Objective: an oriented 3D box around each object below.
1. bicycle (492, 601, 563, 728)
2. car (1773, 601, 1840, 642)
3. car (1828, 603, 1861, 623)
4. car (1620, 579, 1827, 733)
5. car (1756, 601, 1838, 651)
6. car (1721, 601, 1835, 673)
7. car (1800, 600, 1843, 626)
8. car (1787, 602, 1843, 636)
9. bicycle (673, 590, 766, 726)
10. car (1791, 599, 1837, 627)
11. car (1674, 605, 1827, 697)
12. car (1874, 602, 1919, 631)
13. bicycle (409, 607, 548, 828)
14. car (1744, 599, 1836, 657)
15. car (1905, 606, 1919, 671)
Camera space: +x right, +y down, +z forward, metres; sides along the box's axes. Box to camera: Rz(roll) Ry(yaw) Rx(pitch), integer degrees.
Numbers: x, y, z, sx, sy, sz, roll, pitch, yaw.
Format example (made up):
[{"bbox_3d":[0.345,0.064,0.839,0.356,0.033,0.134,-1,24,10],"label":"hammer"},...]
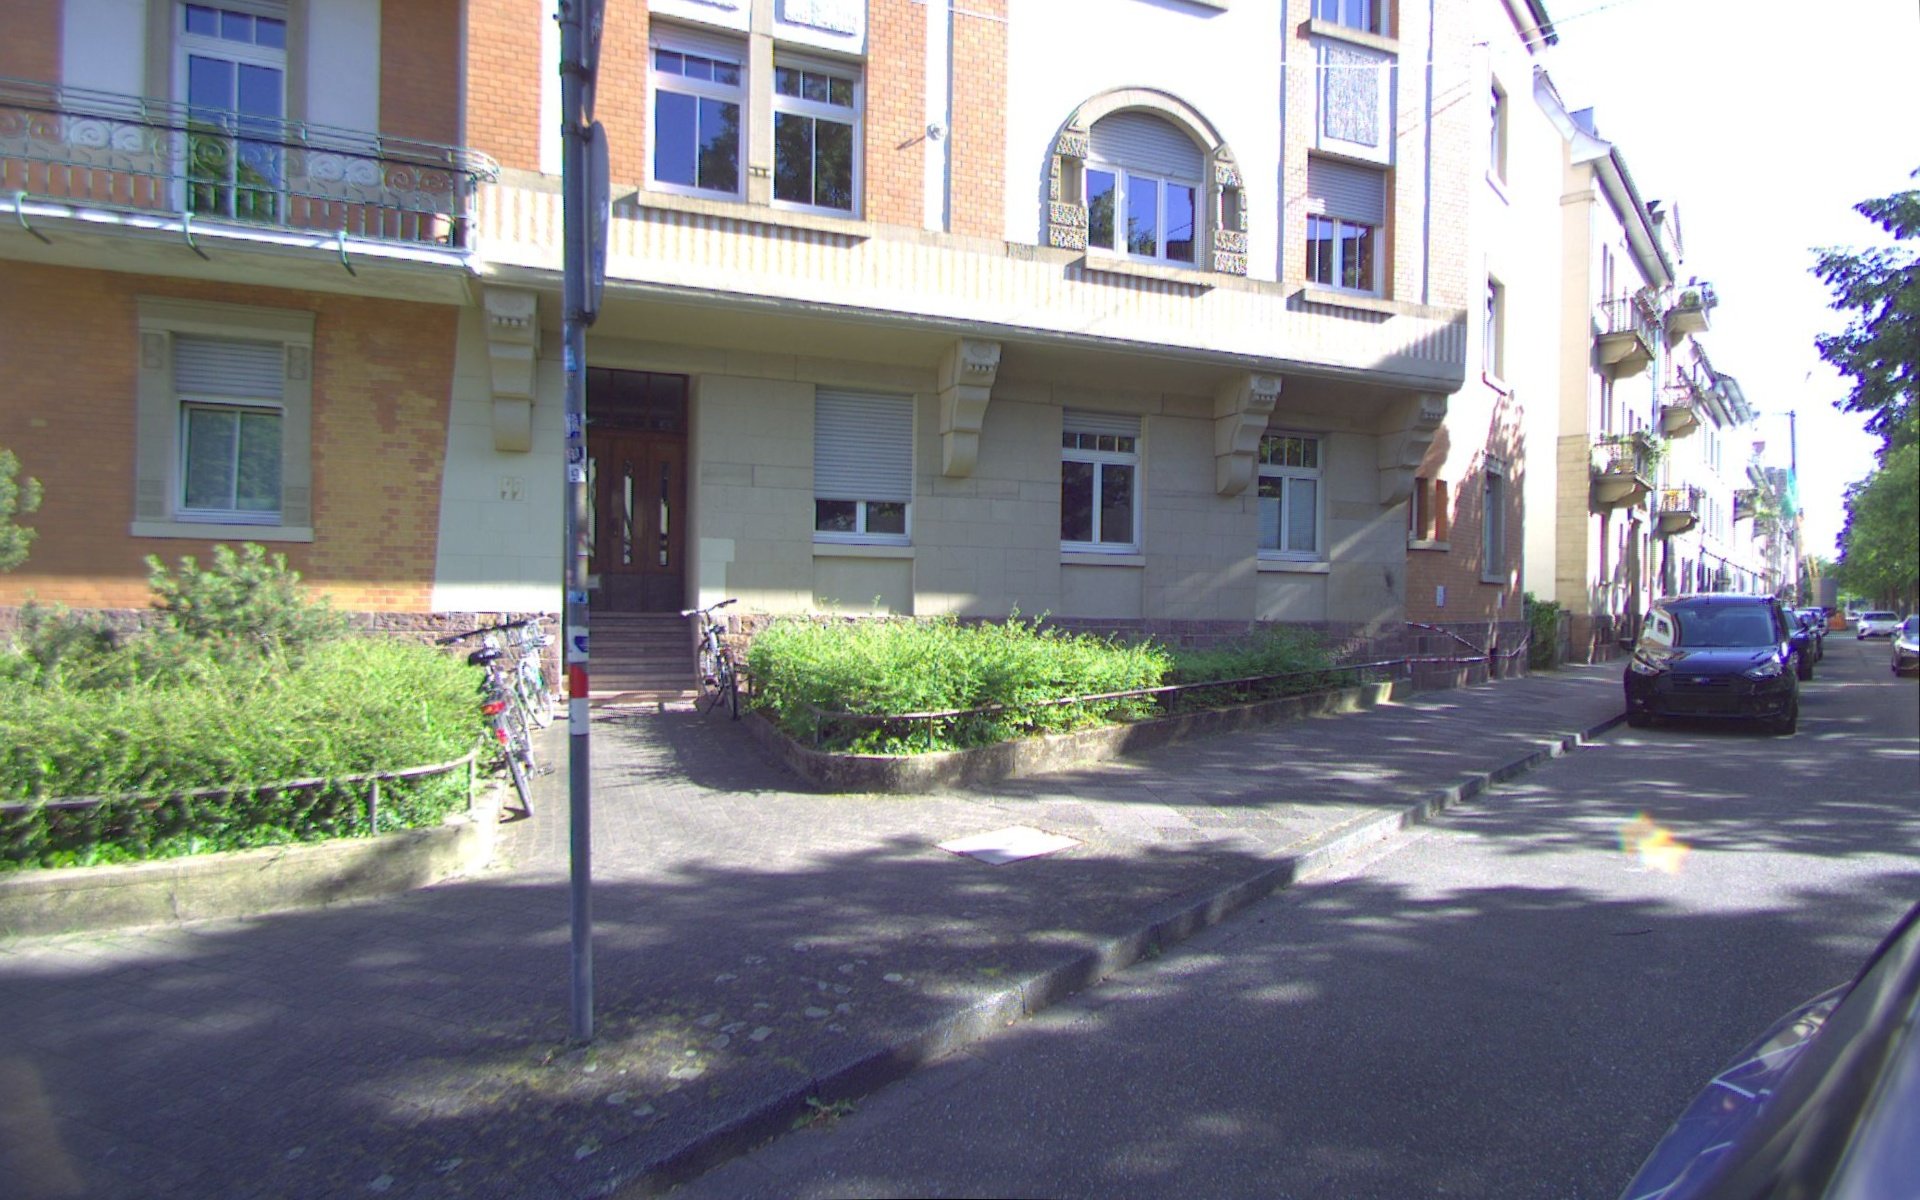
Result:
[{"bbox_3d":[-4.198,0.579,9.896,0.489,1.085,1.678,1,1,-19],"label":"bicycle"},{"bbox_3d":[34.122,0.866,40.766,1.792,1.576,4.142,-2,-2,43],"label":"car"},{"bbox_3d":[70.439,1.052,80.571,1.792,1.576,4.142,-2,-2,43],"label":"car"},{"bbox_3d":[10.586,0.687,13.917,1.792,1.790,4.142,-2,-2,43],"label":"car"},{"bbox_3d":[27.907,0.855,33.702,1.792,1.576,4.142,-2,-2,43],"label":"car"},{"bbox_3d":[19.668,0.843,24.267,1.792,1.576,4.142,-2,-2,43],"label":"car"},{"bbox_3d":[53.730,0.835,63.092,1.792,1.576,4.142,-2,-2,43],"label":"car"},{"bbox_3d":[40.745,0.912,48.186,1.792,1.576,4.142,-2,-2,43],"label":"car"},{"bbox_3d":[-2.489,0.537,10.337,0.583,1.227,1.804,1,1,-24],"label":"bicycle"},{"bbox_3d":[50.311,0.776,59.576,1.792,1.576,4.142,-2,-2,43],"label":"car"},{"bbox_3d":[14.426,0.856,18.384,1.792,1.472,4.142,-2,-2,43],"label":"car"},{"bbox_3d":[48.989,0.832,52.817,1.792,1.453,4.142,0,-1,44],"label":"car"},{"bbox_3d":[-3.045,0.648,6.505,0.674,1.135,1.947,1,1,-23],"label":"bicycle"},{"bbox_3d":[24.450,0.811,29.763,1.792,1.576,4.142,-2,-2,43],"label":"car"},{"bbox_3d":[23.247,0.850,23.529,1.792,1.454,4.142,-2,-2,43],"label":"car"}]
